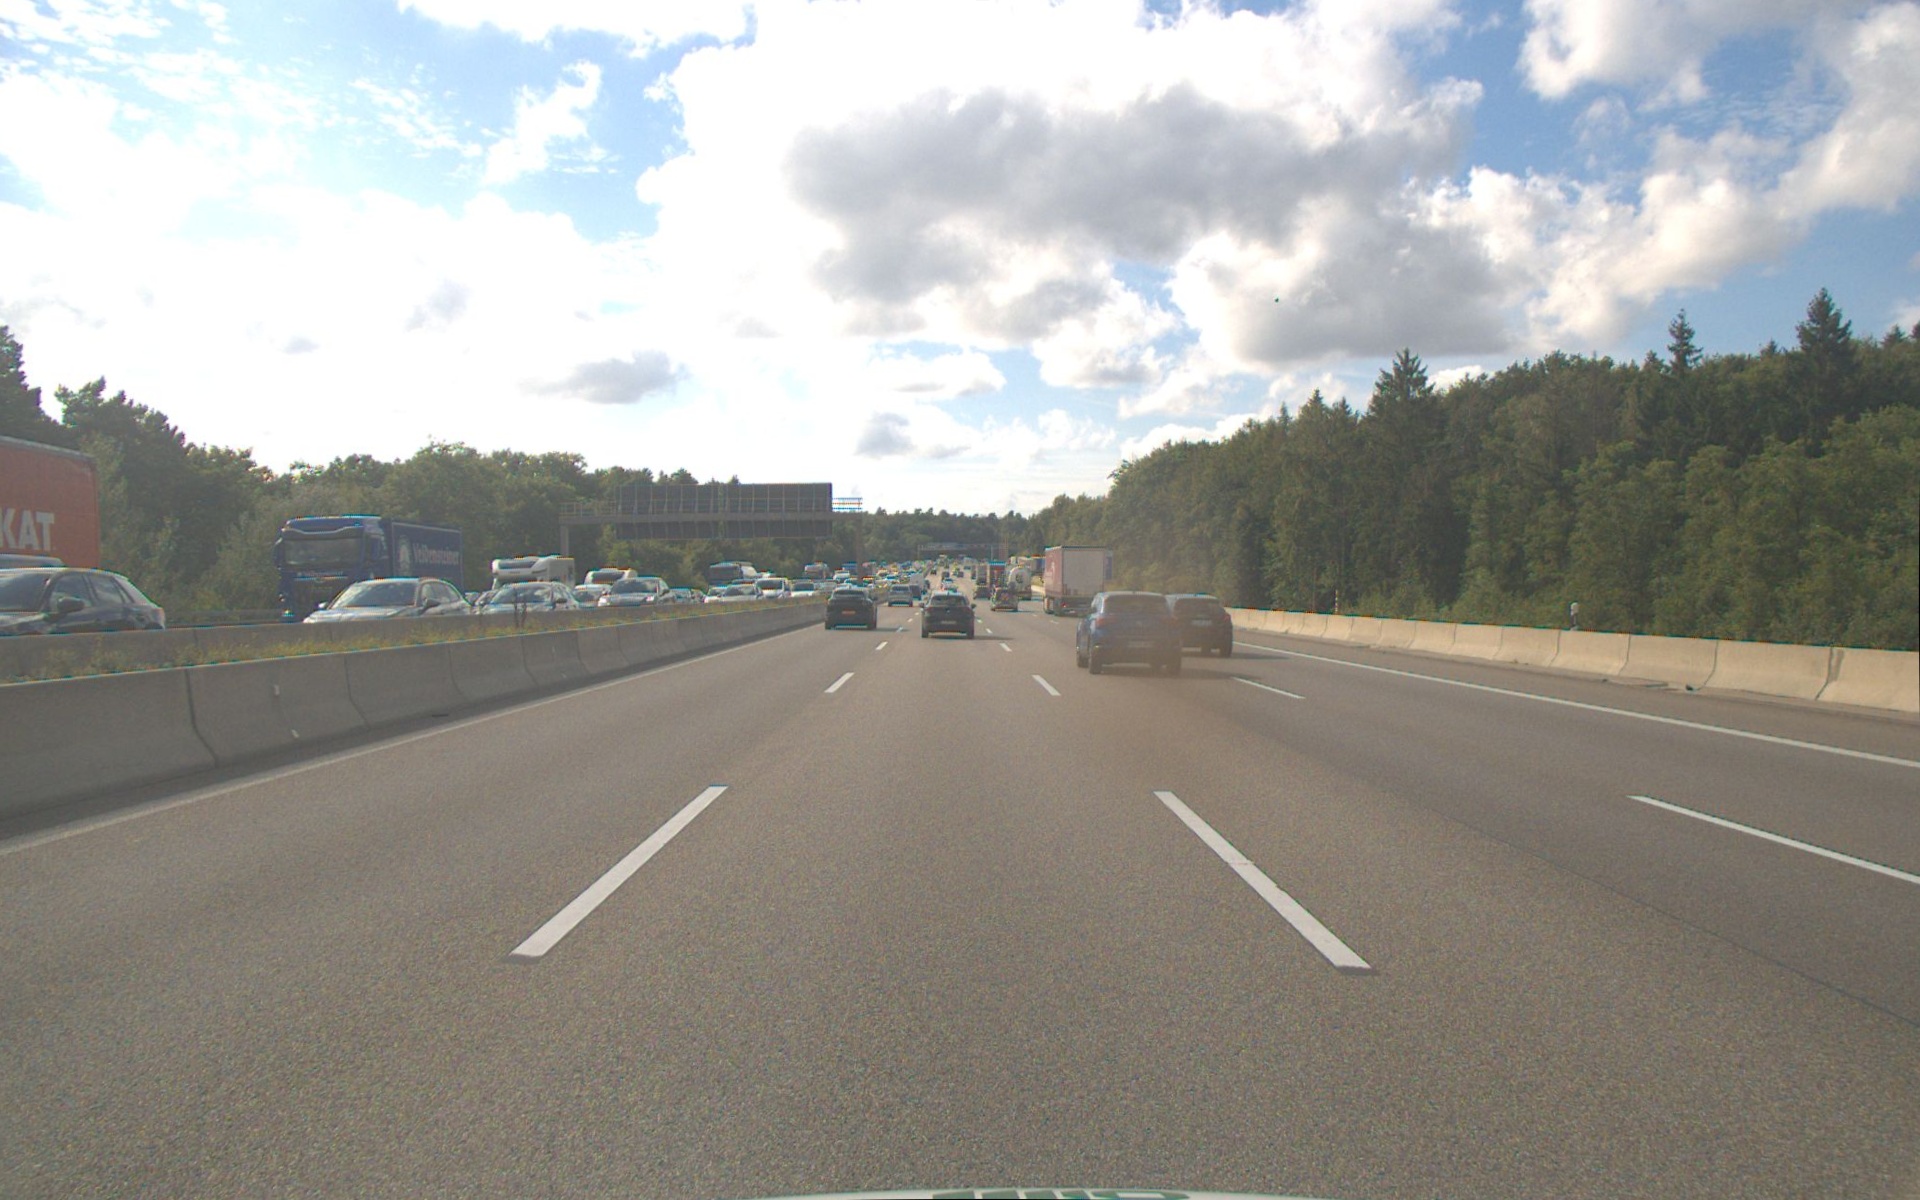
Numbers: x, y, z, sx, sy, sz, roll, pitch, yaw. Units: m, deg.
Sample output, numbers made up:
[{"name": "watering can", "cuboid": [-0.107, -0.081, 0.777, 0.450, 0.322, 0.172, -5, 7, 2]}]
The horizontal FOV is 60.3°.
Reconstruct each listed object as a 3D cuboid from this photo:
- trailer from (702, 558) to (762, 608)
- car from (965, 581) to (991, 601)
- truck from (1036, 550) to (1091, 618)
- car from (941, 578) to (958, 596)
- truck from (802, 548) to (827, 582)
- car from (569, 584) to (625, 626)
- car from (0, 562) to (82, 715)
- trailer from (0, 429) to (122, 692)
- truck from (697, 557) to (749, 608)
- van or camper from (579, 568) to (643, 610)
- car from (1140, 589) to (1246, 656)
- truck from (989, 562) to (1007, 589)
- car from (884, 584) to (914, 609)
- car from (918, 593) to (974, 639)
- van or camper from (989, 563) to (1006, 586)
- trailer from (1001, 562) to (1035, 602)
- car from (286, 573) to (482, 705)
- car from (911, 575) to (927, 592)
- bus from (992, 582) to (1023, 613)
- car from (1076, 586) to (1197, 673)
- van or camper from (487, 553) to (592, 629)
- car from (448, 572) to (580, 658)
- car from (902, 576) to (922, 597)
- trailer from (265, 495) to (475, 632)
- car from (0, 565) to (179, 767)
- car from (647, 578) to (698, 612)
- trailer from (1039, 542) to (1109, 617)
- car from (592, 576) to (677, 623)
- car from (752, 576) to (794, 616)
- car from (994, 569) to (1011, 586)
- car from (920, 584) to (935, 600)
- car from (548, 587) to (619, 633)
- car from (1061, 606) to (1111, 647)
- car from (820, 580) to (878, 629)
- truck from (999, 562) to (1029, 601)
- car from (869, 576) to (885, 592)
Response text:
[{"name": "trailer", "cuboid": [-18.962, -1.436, 138.547, 3.342, 3.894, 13.259, 1, 1, -1]}, {"name": "car", "cuboid": [1.919, -0.949, 176.719, 1.958, 2.049, 3.990, 1, 0, -11]}, {"name": "truck", "cuboid": [6.575, -0.982, 105.942, 3.017, 4.134, 6.068, 1, 0, -1]}, {"name": "car", "cuboid": [-1.220, -1.552, 194.040, 1.953, 2.049, 3.999, -1, 0, -1]}, {"name": "truck", "cuboid": [-19.051, -4.548, 216.954, 2.795, 4.308, 5.712, 1, 1, -1]}, {"name": "car", "cuboid": [-17.440, 0.205, 79.608, 1.795, 1.949, 4.481, 1, 0, -1]}, {"name": "car", "cuboid": [-13.510, 0.488, 21.118, 1.953, 1.994, 4.989, 1, 0, -1]}, {"name": "trailer", "cuboid": [-17.322, -0.692, 25.116, 2.585, 4.395, 13.175, 1, 0, -1]}, {"name": "truck", "cuboid": [-18.889, -1.373, 132.289, 3.348, 3.968, 6.799, 0, 0, -2]}, {"name": "van or camper", "cuboid": [-17.859, -0.574, 84.870, 2.237, 2.046, 4.688, 1, 0, 0]}, {"name": "car", "cuboid": [5.944, 0.555, 42.803, 1.953, 1.602, 5.277, 1, 0, 0]}, {"name": "truck", "cuboid": [5.391, -3.405, 234.189, 2.309, 3.635, 11.266, 1, 0, 1]}, {"name": "car", "cuboid": [-4.688, -0.290, 127.729, 2.111, 1.807, 4.000, 1, 0, 0]}, {"name": "car", "cuboid": [-0.494, 0.500, 54.463, 1.699, 1.389, 3.998, 1, 0, -3]}, {"name": "van or camper", "cuboid": [5.448, -3.707, 241.662, 2.303, 3.199, 5.710, 1, 0, 0]}, {"name": "trailer", "cuboid": [6.159, -1.908, 177.963, 2.974, 4.086, 12.242, 0, 0, -1]}, {"name": "car", "cuboid": [-9.691, 0.620, 28.236, 1.707, 2.049, 4.682, 1, 0, -1]}, {"name": "car", "cuboid": [-5.274, -2.109, 211.180, 1.953, 2.049, 3.999, 1, 0, -1]}, {"name": "bus", "cuboid": [3.201, -0.133, 112.628, 1.953, 2.049, 3.999, 1, 0, 0]}, {"name": "car", "cuboid": [3.402, 0.561, 32.665, 1.885, 1.568, 4.644, 1, -1, 0]}, {"name": "van or camper", "cuboid": [-17.407, -0.295, 68.930, 2.419, 2.940, 7.480, 1, -1, 0]}, {"name": "car", "cuboid": [-9.919, 0.300, 37.107, 1.780, 1.795, 4.629, 0, 0, -1]}, {"name": "car", "cuboid": [-4.813, -1.357, 166.571, 1.953, 2.049, 3.999, 1, 0, -1]}, {"name": "trailer", "cuboid": [-17.602, -1.032, 50.287, 2.829, 3.722, 10.218, 0, 0, -1]}, {"name": "car", "cuboid": [-10.013, 0.616, 16.944, 1.780, 1.914, 4.902, 0, 0, -1]}, {"name": "car", "cuboid": [-13.990, -0.269, 80.776, 1.795, 1.564, 4.242, 1, 0, -1]}, {"name": "trailer", "cuboid": [6.666, -1.099, 99.051, 2.976, 4.106, 13.887, 1, 0, -1]}, {"name": "car", "cuboid": [-10.254, -0.040, 52.467, 1.795, 1.412, 4.902, 0, 0, -1]}, {"name": "car", "cuboid": [-10.364, -0.248, 91.979, 1.795, 2.098, 5.499, -1, 0, -1]}, {"name": "car", "cuboid": [5.341, -2.870, 210.036, 1.953, 2.049, 3.999, 1, 0, -1]}, {"name": "car", "cuboid": [-4.431, -1.085, 227.306, 1.953, 2.049, 3.999, 1, 0, -1]}, {"name": "car", "cuboid": [-14.393, 0.349, 63.449, 1.795, 1.689, 4.271, 0, 0, -1]}, {"name": "car", "cuboid": [5.143, 1.063, 67.945, 1.680, 1.537, 4.301, 0, 0, -1]}, {"name": "car", "cuboid": [-4.194, 0.159, 63.244, 1.953, 1.807, 4.000, 0, 0, 0]}, {"name": "truck", "cuboid": [6.026, -2.060, 184.719, 2.983, 4.233, 7.126, 1, 0, -1]}, {"name": "car", "cuboid": [-11.304, -2.174, 224.775, 1.953, 2.049, 4.409, 0, 0, 0]}]
